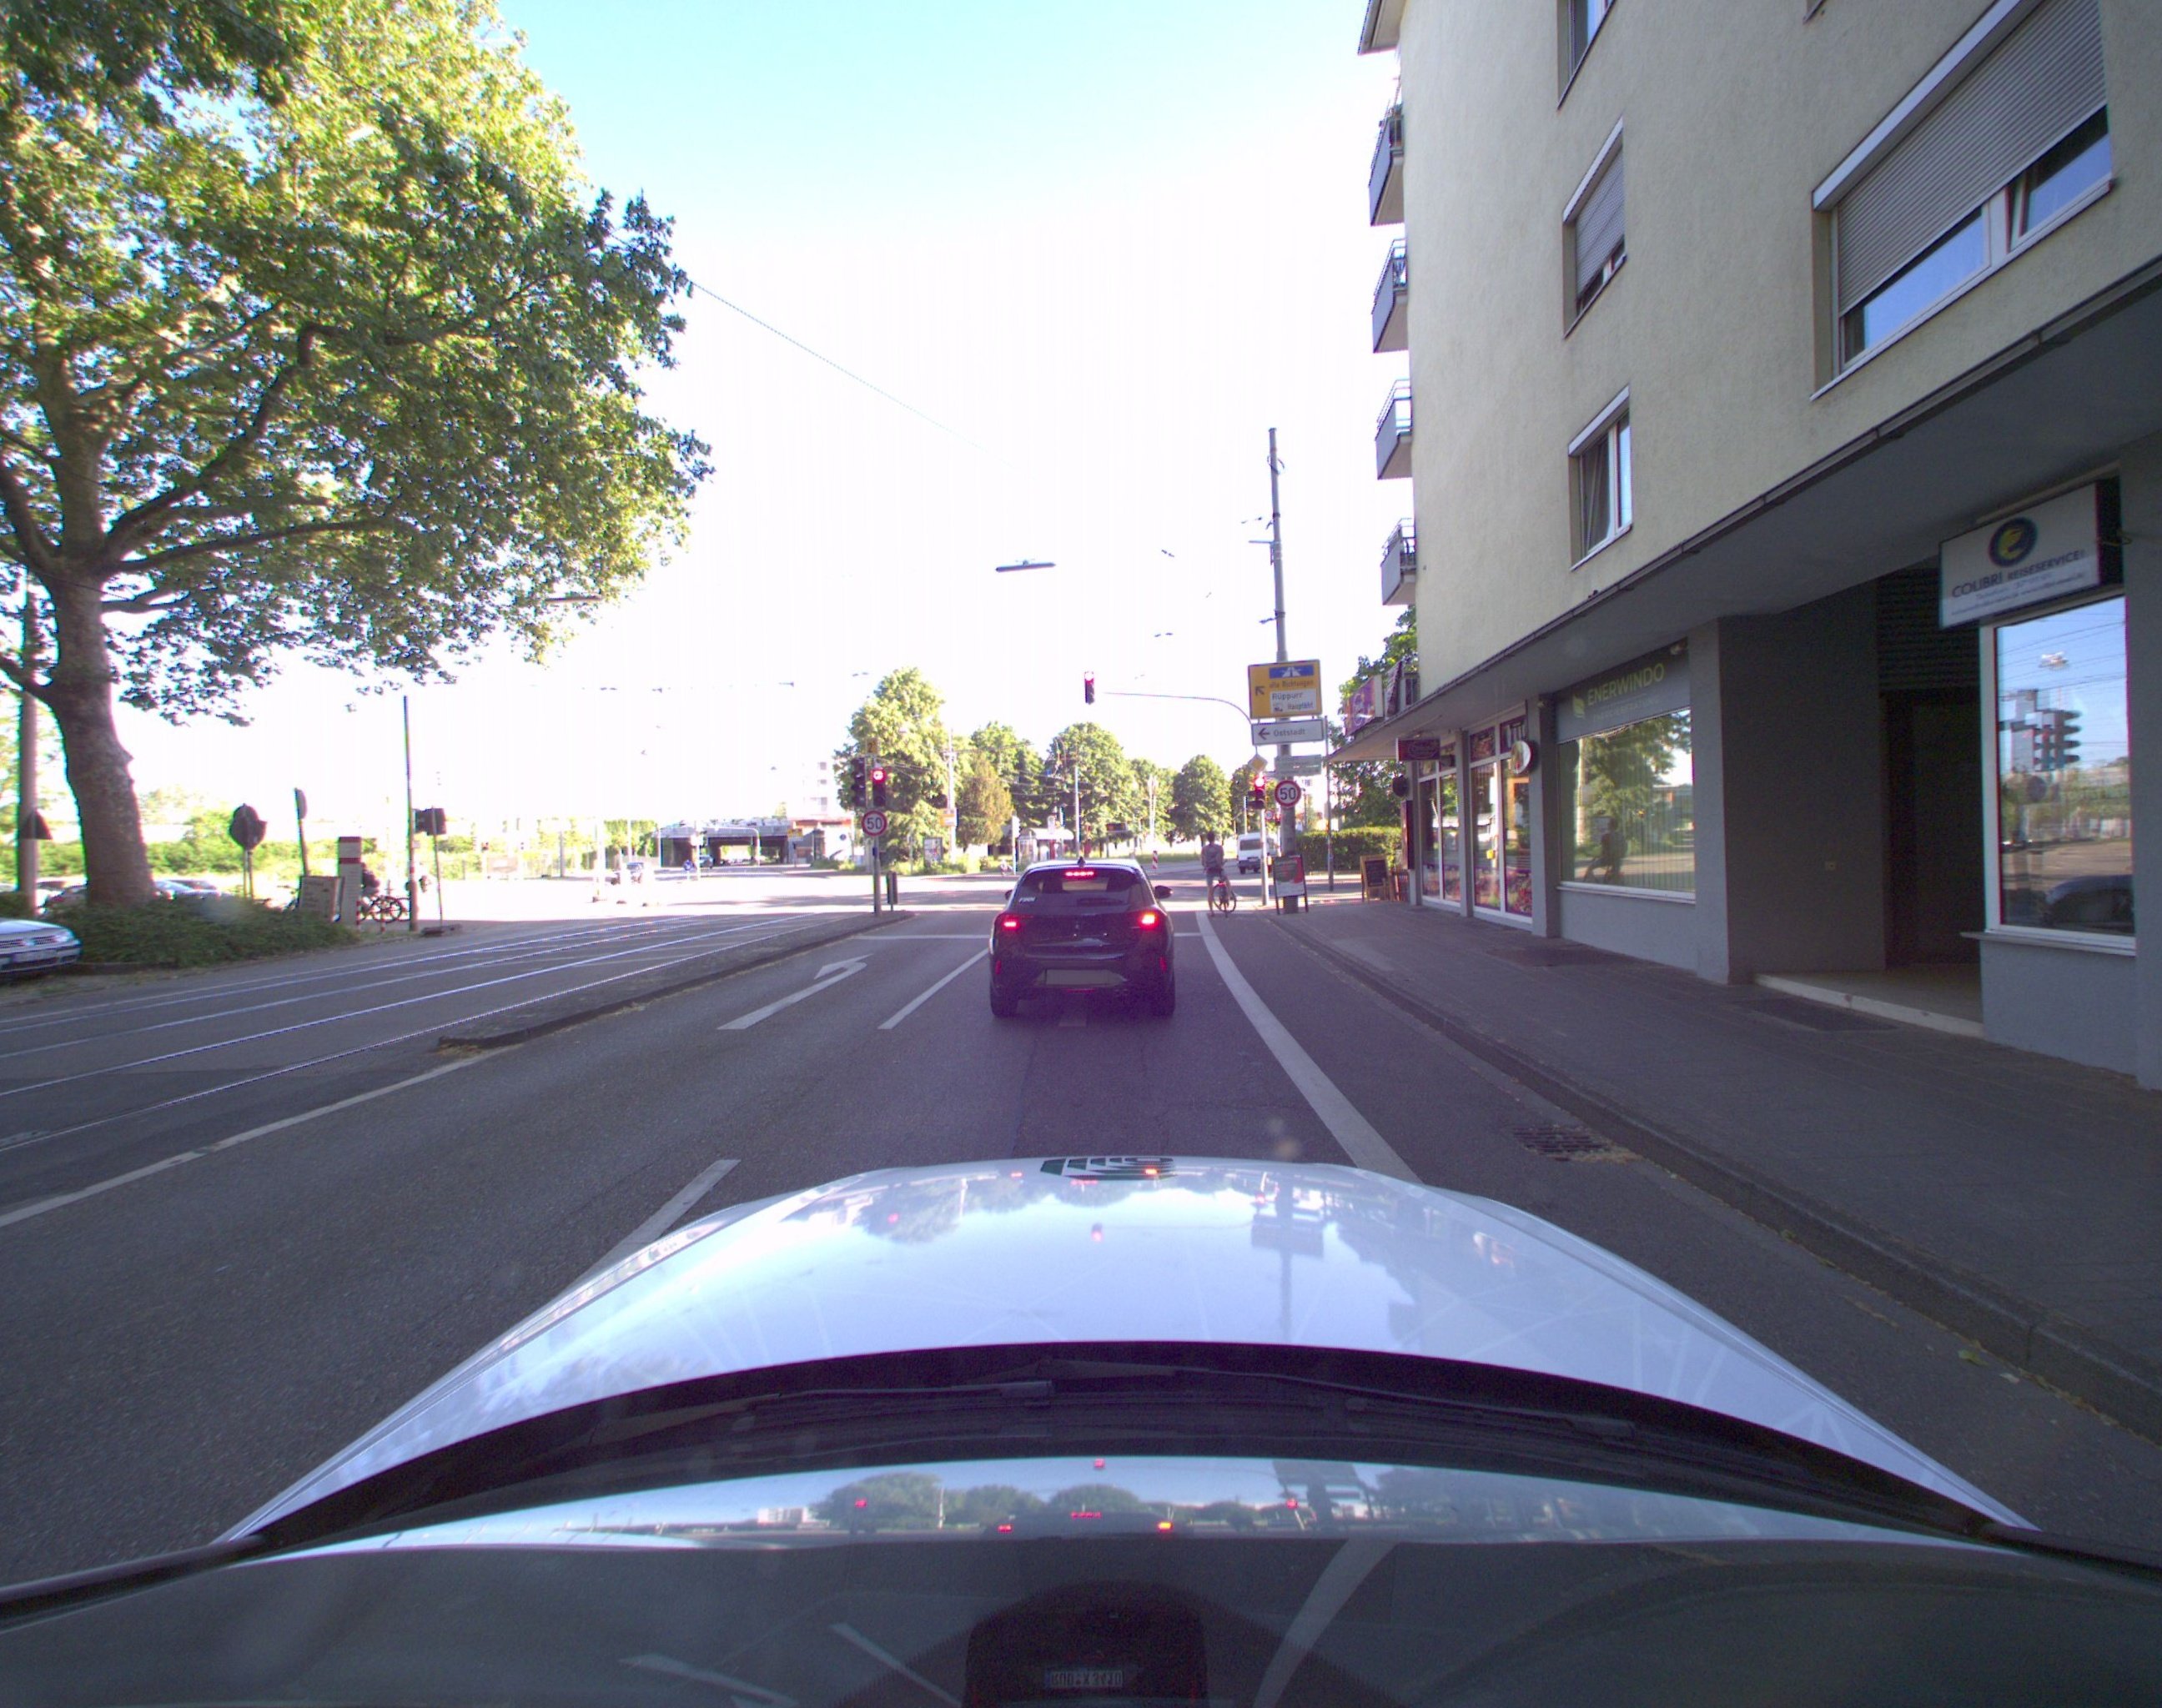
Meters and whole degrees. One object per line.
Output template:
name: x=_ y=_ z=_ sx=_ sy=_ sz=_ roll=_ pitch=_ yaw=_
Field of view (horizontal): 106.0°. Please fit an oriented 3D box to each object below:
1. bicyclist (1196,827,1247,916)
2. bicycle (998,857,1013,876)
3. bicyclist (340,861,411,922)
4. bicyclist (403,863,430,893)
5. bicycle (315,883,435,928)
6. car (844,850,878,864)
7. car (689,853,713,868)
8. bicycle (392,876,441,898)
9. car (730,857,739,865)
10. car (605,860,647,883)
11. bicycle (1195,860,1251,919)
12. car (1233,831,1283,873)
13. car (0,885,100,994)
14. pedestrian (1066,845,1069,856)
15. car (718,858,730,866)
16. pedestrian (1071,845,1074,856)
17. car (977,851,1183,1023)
bicyclist: x=3.053 y=0.368 z=17.776 sx=0.938 sy=1.851 sz=0.864 roll=-2 pitch=0 yaw=1
bicycle: x=-4.305 y=0.731 z=46.739 sx=0.603 sy=1.031 sz=1.983 roll=-2 pitch=0 yaw=2
bicyclist: x=-18.580 y=0.959 z=21.481 sx=1.117 sy=1.520 sz=0.915 roll=-2 pitch=0 yaw=-21
bicyclist: x=-35.505 y=1.270 z=43.503 sx=0.858 sy=1.595 sz=0.649 roll=-2 pitch=0 yaw=-1
bicycle: x=-18.571 y=1.344 z=21.479 sx=2.199 sy=1.033 sz=0.828 roll=-2 pitch=0 yaw=-21
car: x=-30.208 y=0.457 z=111.724 sx=4.193 sy=1.805 sz=1.723 roll=-2 pitch=0 yaw=-23
car: x=-46.468 y=0.795 z=99.523 sx=2.227 sy=1.823 sz=4.106 roll=-2 pitch=0 yaw=-31
bicycle: x=-35.503 y=1.769 z=43.507 sx=2.049 sy=1.094 sz=0.592 roll=-2 pitch=0 yaw=-1
car: x=-94.166 y=1.890 z=221.298 sx=2.004 sy=1.947 sz=4.461 roll=-2 pitch=0 yaw=-26
car: x=-31.287 y=1.156 z=56.103 sx=1.830 sy=1.519 sz=3.870 roll=0 pitch=0 yaw=-18
bicycle: x=3.071 y=0.732 z=17.796 sx=0.857 sy=1.153 sz=2.172 roll=-2 pitch=0 yaw=1
car: x=10.146 y=-0.145 z=46.385 sx=2.046 sy=2.248 sz=4.912 roll=-2 pitch=0 yaw=20
car: x=-16.958 y=1.200 z=11.364 sx=4.497 sy=1.429 sz=1.676 roll=0 pitch=0 yaw=0
pedestrian: x=-1.840 y=-0.494 z=112.576 sx=0.411 sy=1.412 sz=0.436 roll=0 pitch=-1 yaw=-1
car: x=-72.522 y=1.558 z=165.438 sx=2.003 sy=1.602 sz=4.213 roll=-2 pitch=0 yaw=-24
pedestrian: x=-1.146 y=-0.494 z=112.167 sx=0.411 sy=1.412 sz=0.436 roll=0 pitch=-1 yaw=1
car: x=0.069 y=0.696 z=8.965 sx=1.720 sy=1.429 sz=4.189 roll=-1 pitch=0 yaw=2
